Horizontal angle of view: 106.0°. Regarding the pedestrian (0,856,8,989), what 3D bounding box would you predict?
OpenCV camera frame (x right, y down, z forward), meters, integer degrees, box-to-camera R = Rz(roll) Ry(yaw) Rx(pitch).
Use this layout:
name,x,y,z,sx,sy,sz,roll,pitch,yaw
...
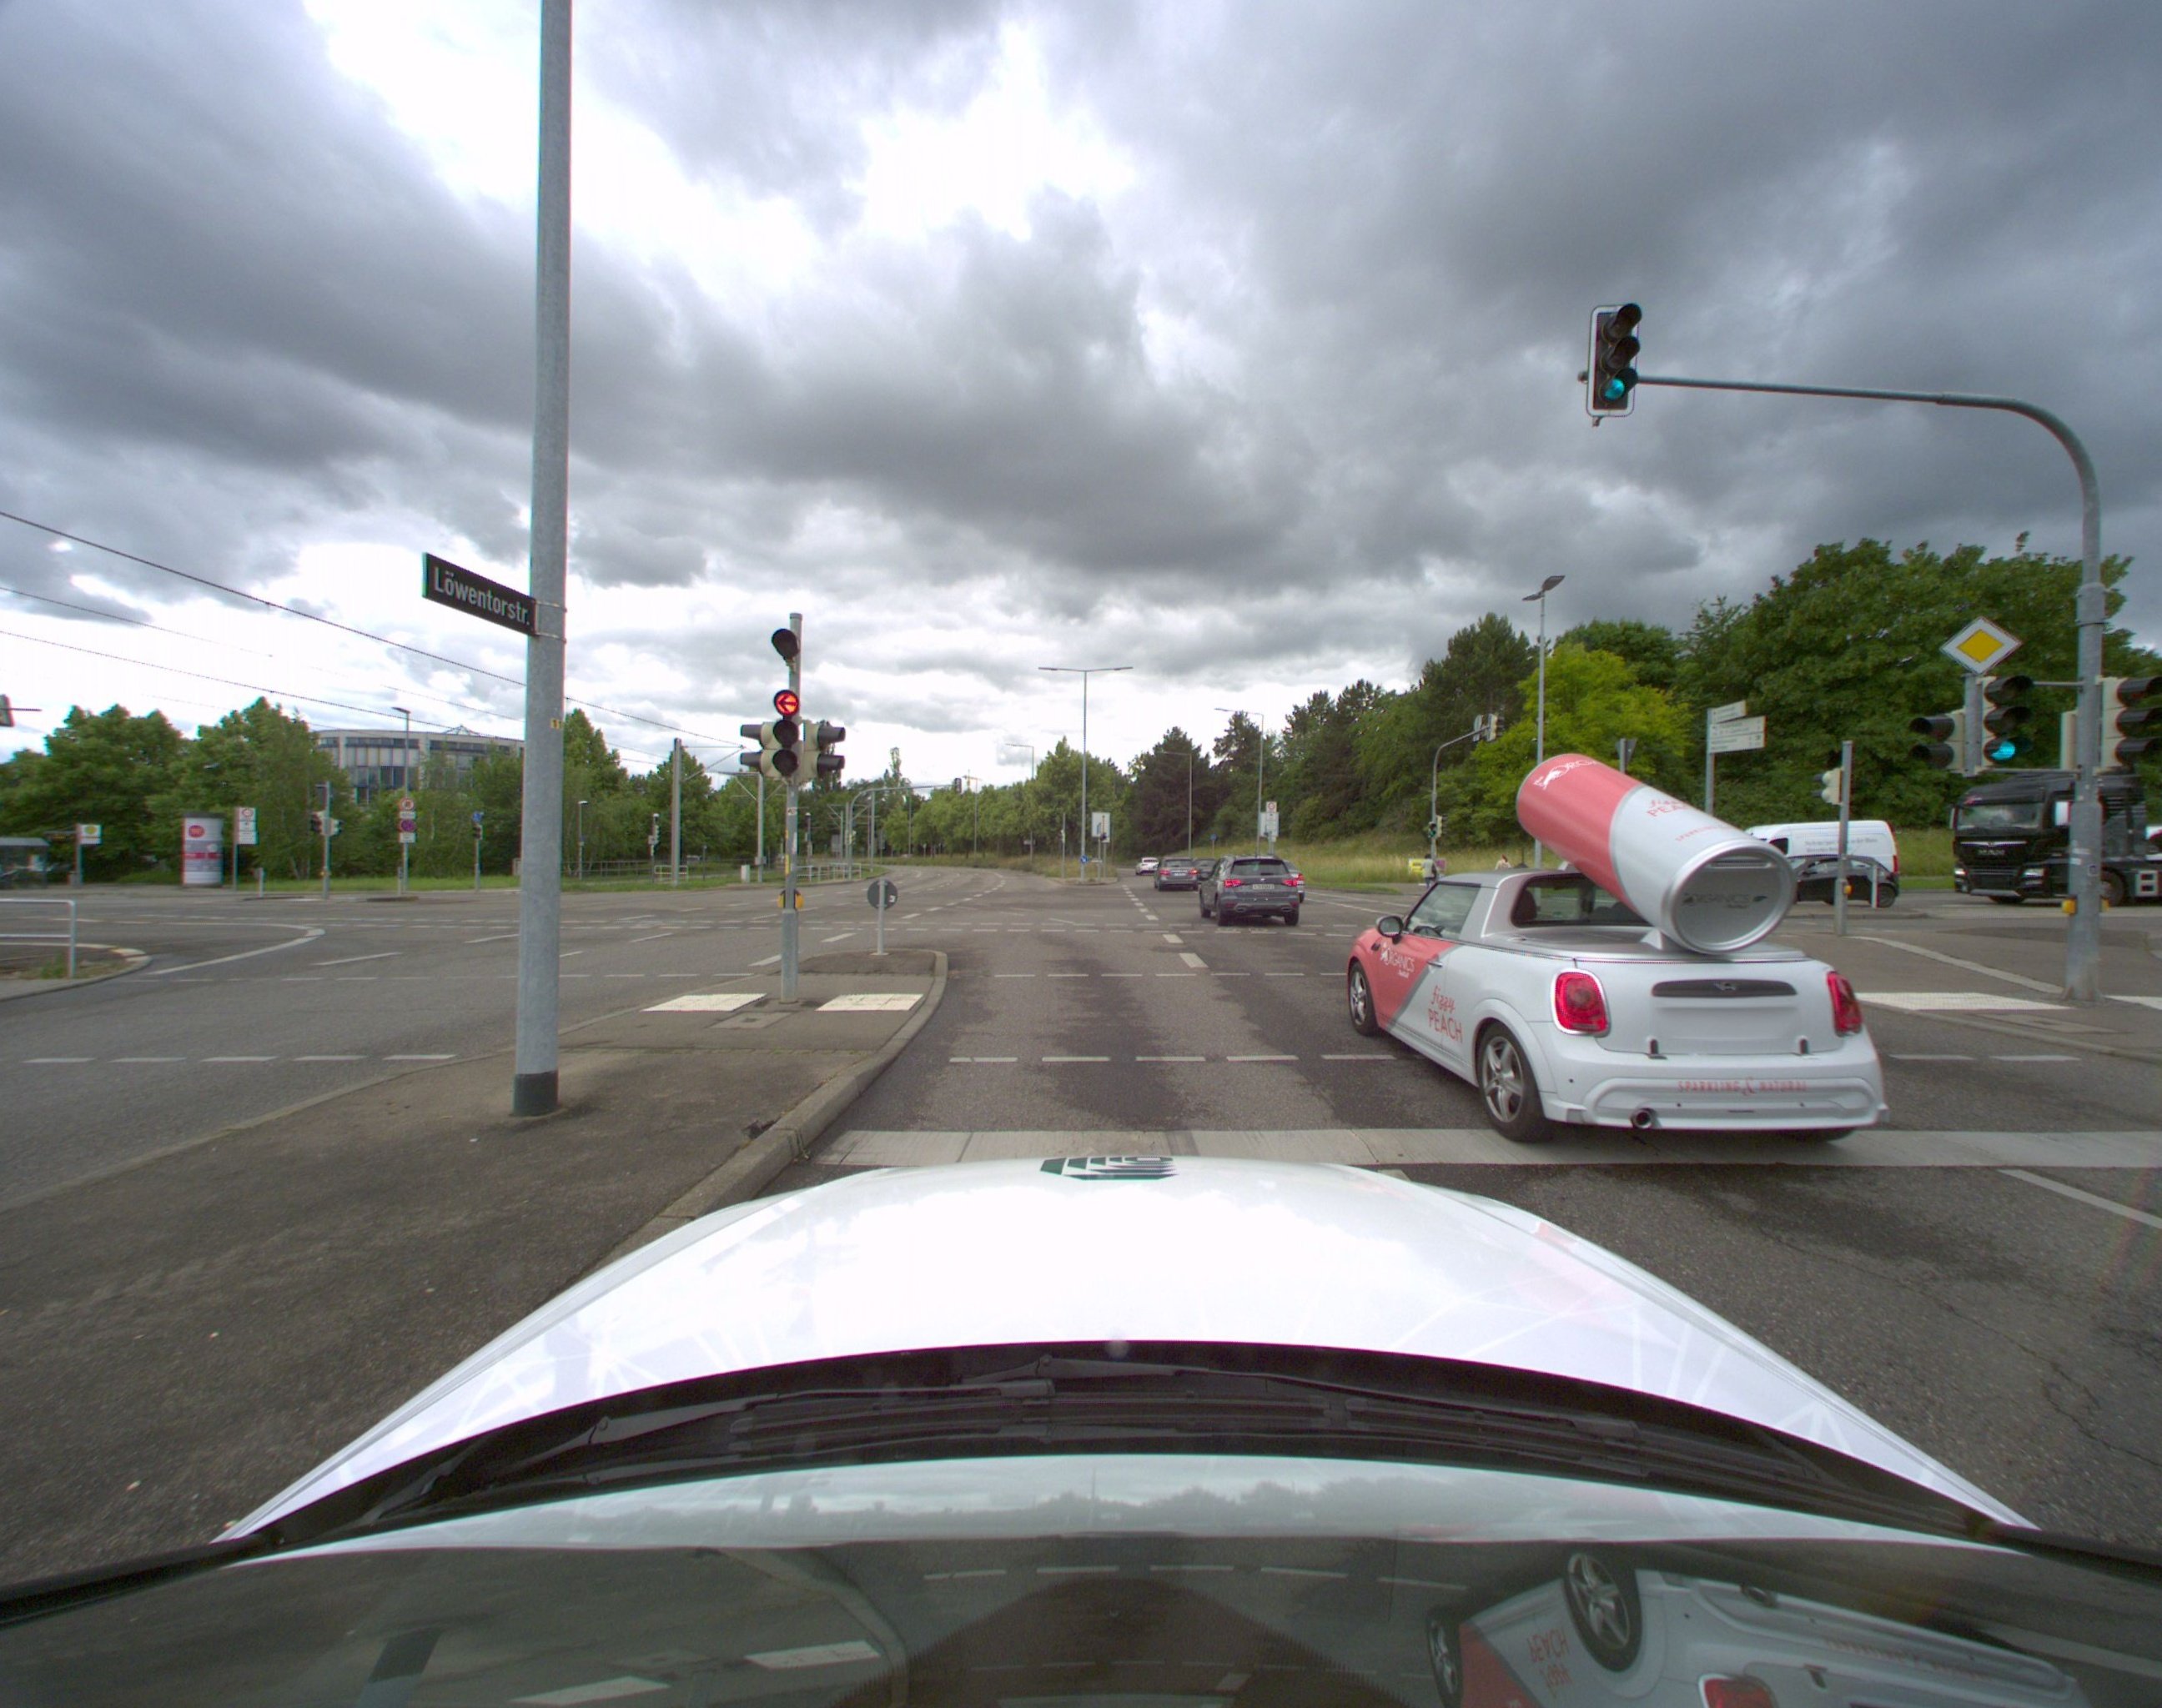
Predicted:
name,x,y,z,sx,sy,sz,roll,pitch,yaw
pedestrian,-12.836,0.794,9.129,0.632,1.536,0.719,0,-1,-2

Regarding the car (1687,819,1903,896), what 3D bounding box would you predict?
name,x,y,z,sx,sy,sz,roll,pitch,yaw
car,25.422,0.138,29.180,5.780,2.630,2.002,0,-1,3

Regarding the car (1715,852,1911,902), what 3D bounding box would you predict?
name,x,y,z,sx,sy,sz,roll,pitch,yaw
car,20.329,0.635,22.746,3.859,1.338,1.698,0,-1,4

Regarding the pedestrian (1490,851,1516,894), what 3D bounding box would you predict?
name,x,y,z,sx,sy,sz,roll,pitch,yaw
pedestrian,16.127,0.699,31.128,0.640,1.612,0.715,0,-1,7

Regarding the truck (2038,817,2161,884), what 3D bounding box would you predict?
name,x,y,z,sx,sy,sz,roll,pitch,yaw
truck,37.677,-0.120,28.250,5.992,2.230,2.165,0,-1,5

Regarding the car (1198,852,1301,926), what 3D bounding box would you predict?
name,x,y,z,sx,sy,sz,roll,pitch,yaw
car,3.713,0.715,18.524,1.618,1.493,3.838,0,0,1

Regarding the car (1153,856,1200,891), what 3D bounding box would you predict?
name,x,y,z,sx,sy,sz,roll,pitch,yaw
car,4.323,0.831,37.261,1.740,1.508,4.049,0,0,1

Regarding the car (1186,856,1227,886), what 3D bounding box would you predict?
name,x,y,z,sx,sy,sz,roll,pitch,yaw
car,6.868,0.885,44.988,1.740,1.485,4.358,0,1,2

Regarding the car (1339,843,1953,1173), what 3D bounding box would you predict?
name,x,y,z,sx,sy,sz,roll,pitch,yaw
car,3.134,0.696,5.479,1.814,1.506,3.496,0,0,2

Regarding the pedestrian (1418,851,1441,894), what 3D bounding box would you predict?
name,x,y,z,sx,sy,sz,roll,pitch,yaw
pedestrian,13.773,0.729,32.188,0.640,1.662,0.715,0,-1,8

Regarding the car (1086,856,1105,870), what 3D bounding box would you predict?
name,x,y,z,sx,sy,sz,roll,pitch,yaw
car,1.618,0.990,89.923,1.592,1.516,2.757,0,-1,-10

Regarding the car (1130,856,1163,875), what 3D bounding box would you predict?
name,x,y,z,sx,sy,sz,roll,pitch,yaw
car,5.292,0.905,66.316,1.842,1.506,4.519,0,-1,-7

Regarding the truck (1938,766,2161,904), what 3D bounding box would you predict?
name,x,y,z,sx,sy,sz,roll,pitch,yaw
truck,27.923,-0.508,22.230,5.971,3.486,2.694,-1,-1,4

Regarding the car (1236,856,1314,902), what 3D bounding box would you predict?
name,x,y,z,sx,sy,sz,roll,pitch,yaw
car,6.445,0.797,27.552,1.740,1.382,4.292,0,0,2
